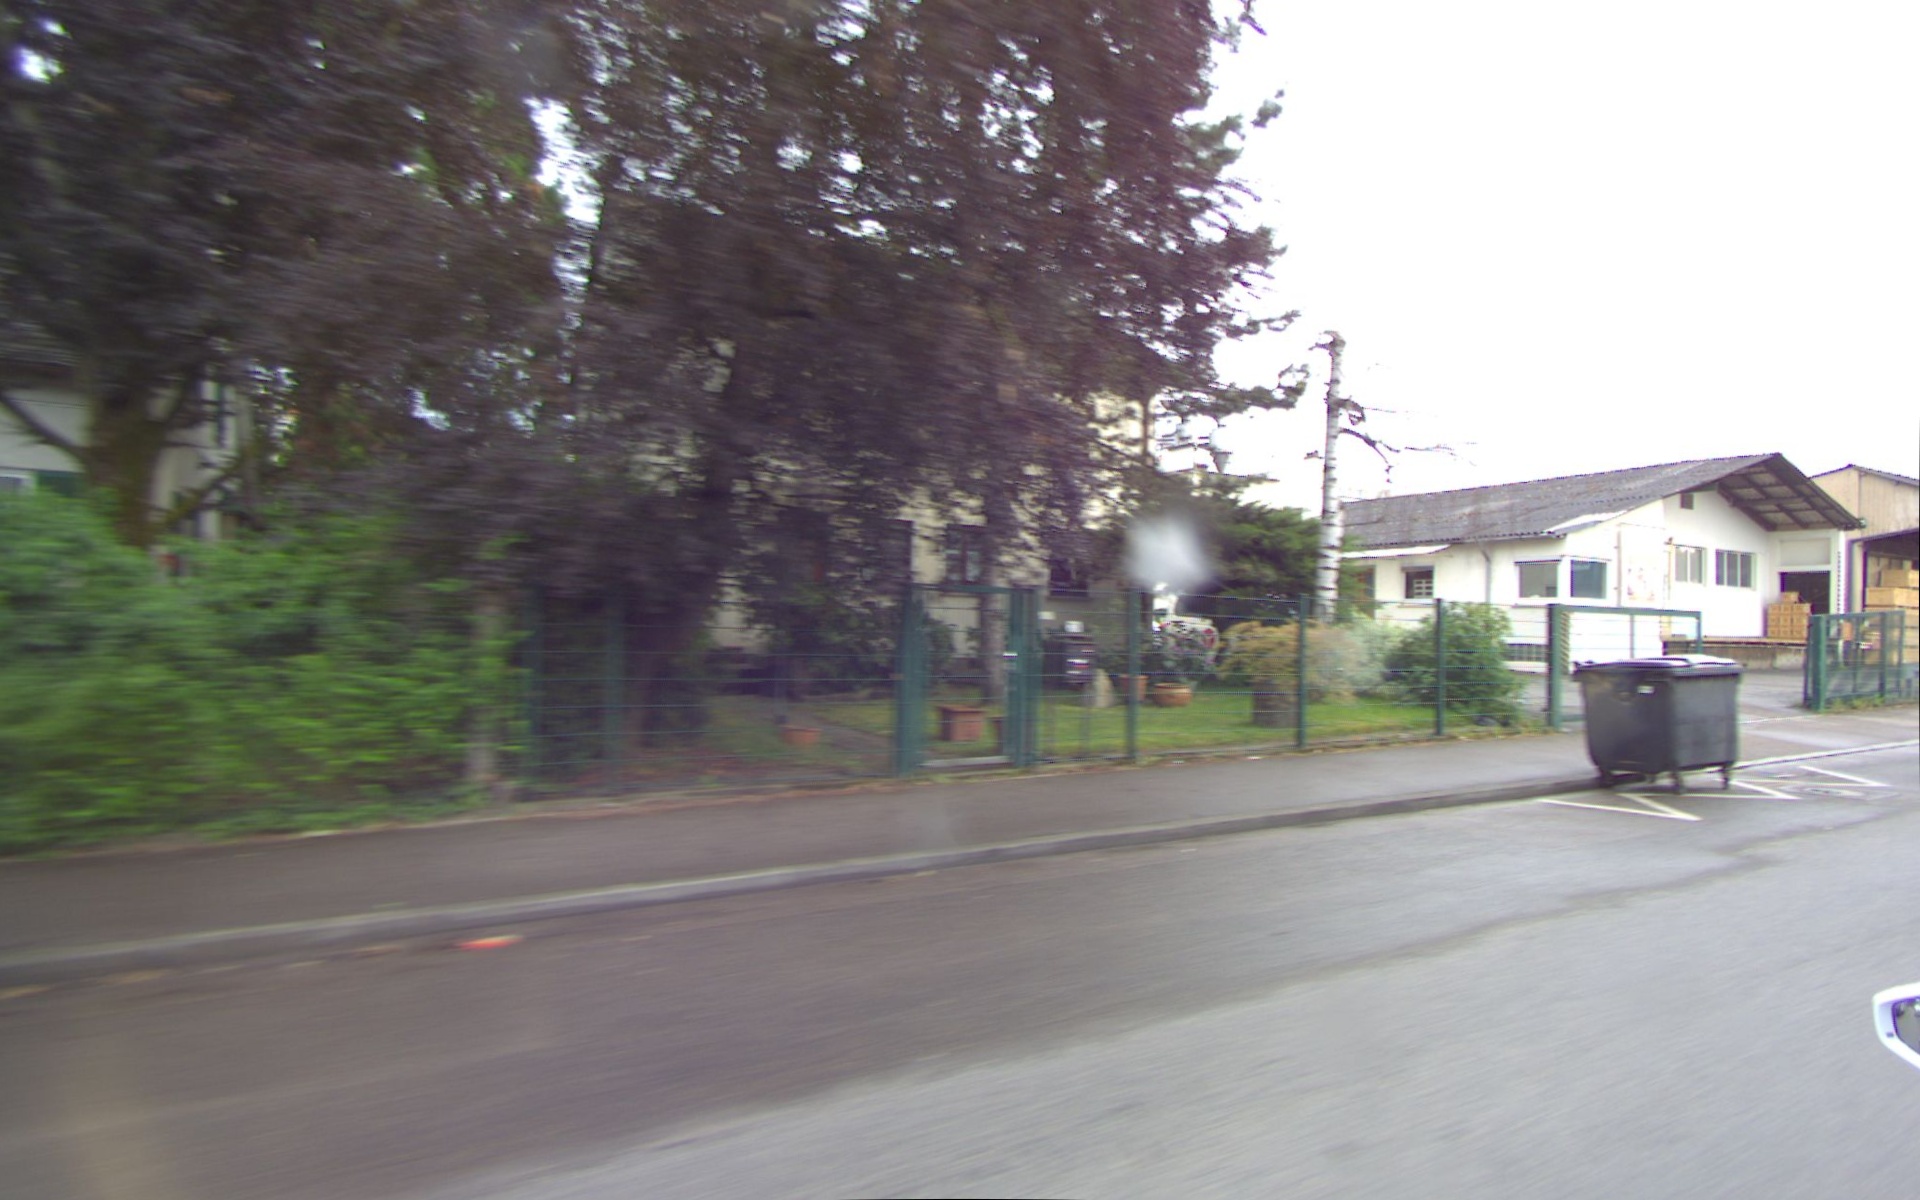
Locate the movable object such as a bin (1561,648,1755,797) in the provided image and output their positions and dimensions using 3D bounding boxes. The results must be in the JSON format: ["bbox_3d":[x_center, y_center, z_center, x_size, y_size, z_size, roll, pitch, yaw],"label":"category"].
[{"bbox_3d":[7.108,1.189,10.245,1.408,1.328,1.095,2,0,-30],"label":"movable object such as a bin"}]

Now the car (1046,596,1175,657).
[{"bbox_3d":[4.297,0.733,29.249,1.762,1.573,3.973,2,0,-26],"label":"car"}]

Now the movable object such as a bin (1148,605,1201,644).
[{"bbox_3d":[8.100,0.917,37.998,1.470,1.405,1.274,2,0,-31],"label":"movable object such as a bin"}]

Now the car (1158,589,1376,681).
[{"bbox_3d":[6.991,0.731,23.505,1.974,1.881,4.980,2,0,-27],"label":"car"}]
